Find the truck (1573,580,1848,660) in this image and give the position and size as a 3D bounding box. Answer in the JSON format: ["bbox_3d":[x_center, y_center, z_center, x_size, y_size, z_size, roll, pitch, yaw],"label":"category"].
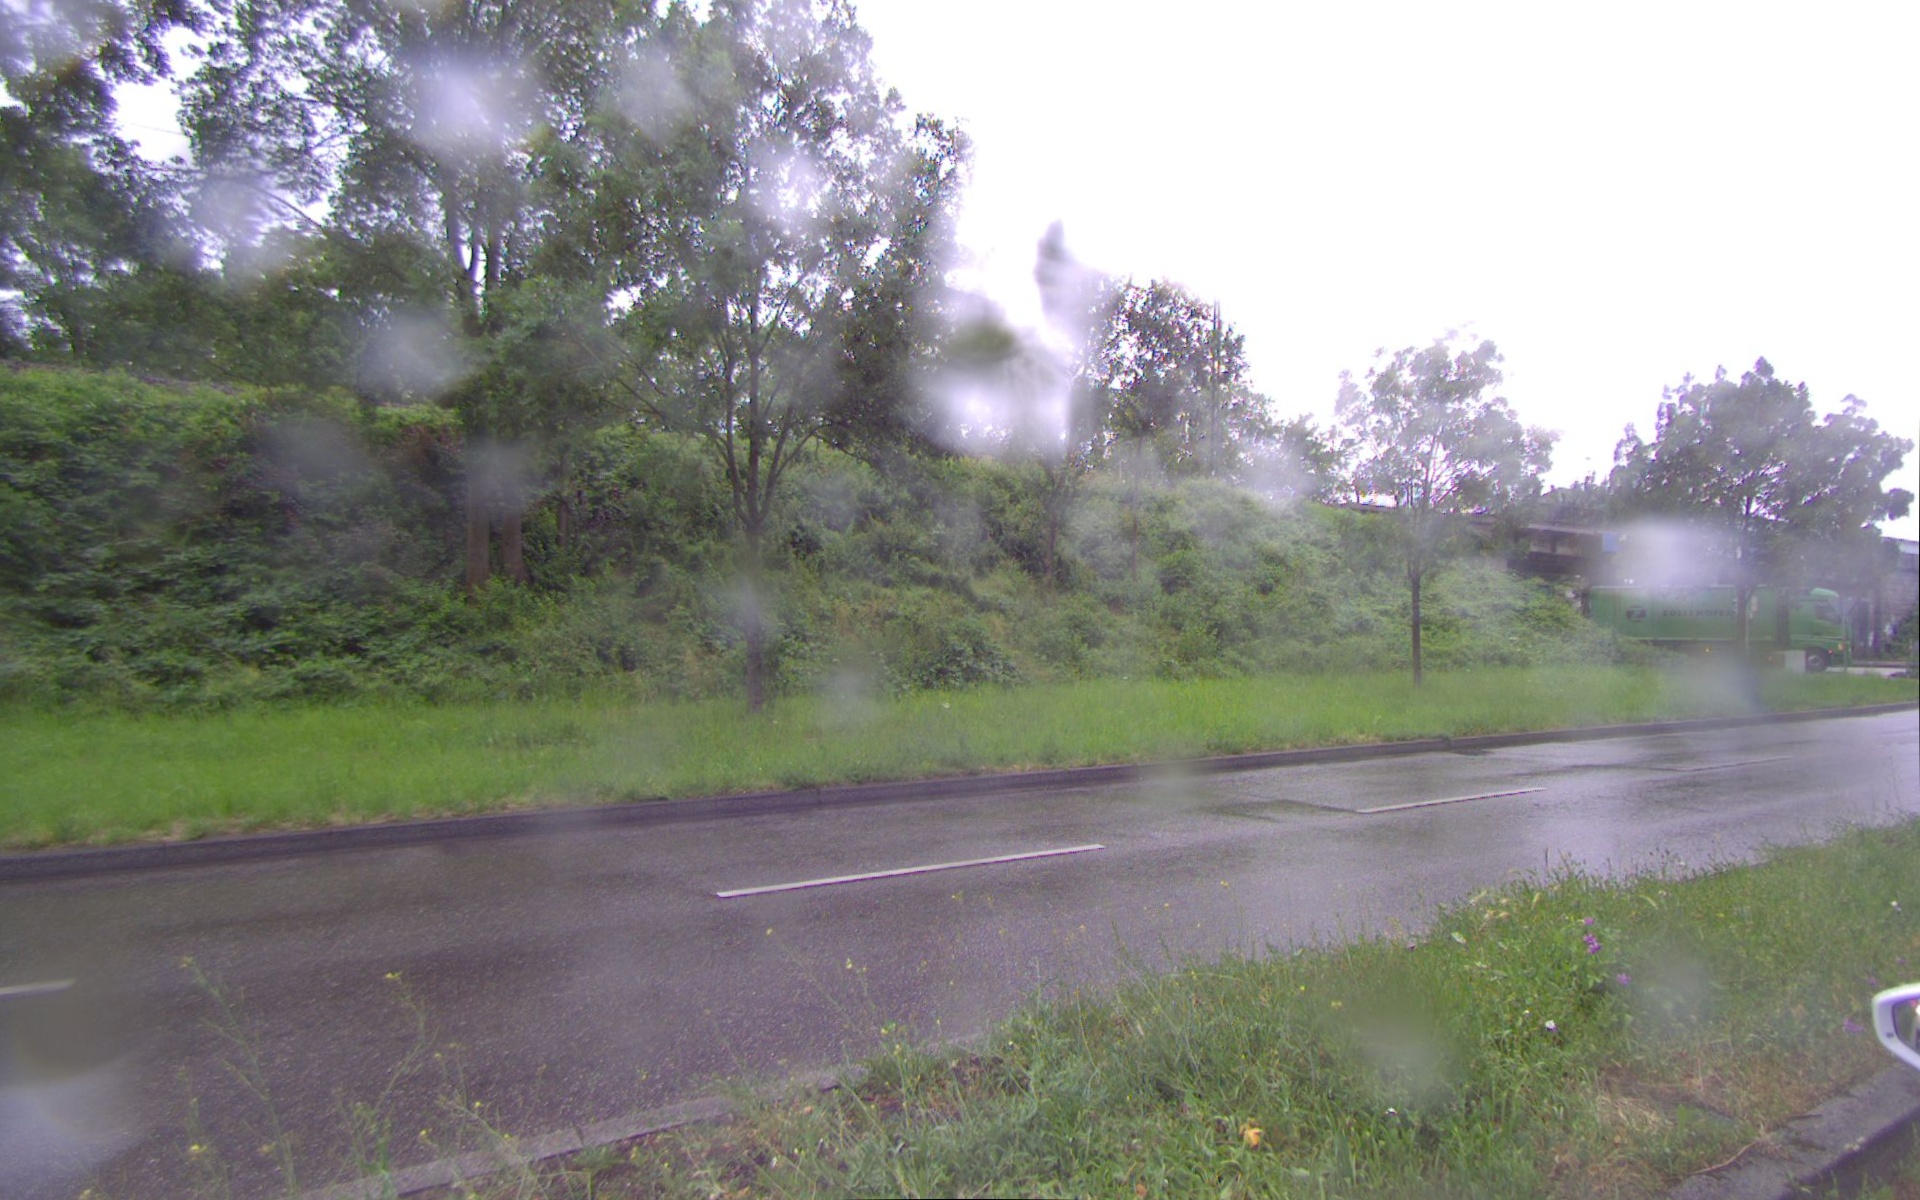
[{"bbox_3d":[34.235,0.858,46.382,9.872,3.416,2.346,0,-1,25],"label":"truck"}]
